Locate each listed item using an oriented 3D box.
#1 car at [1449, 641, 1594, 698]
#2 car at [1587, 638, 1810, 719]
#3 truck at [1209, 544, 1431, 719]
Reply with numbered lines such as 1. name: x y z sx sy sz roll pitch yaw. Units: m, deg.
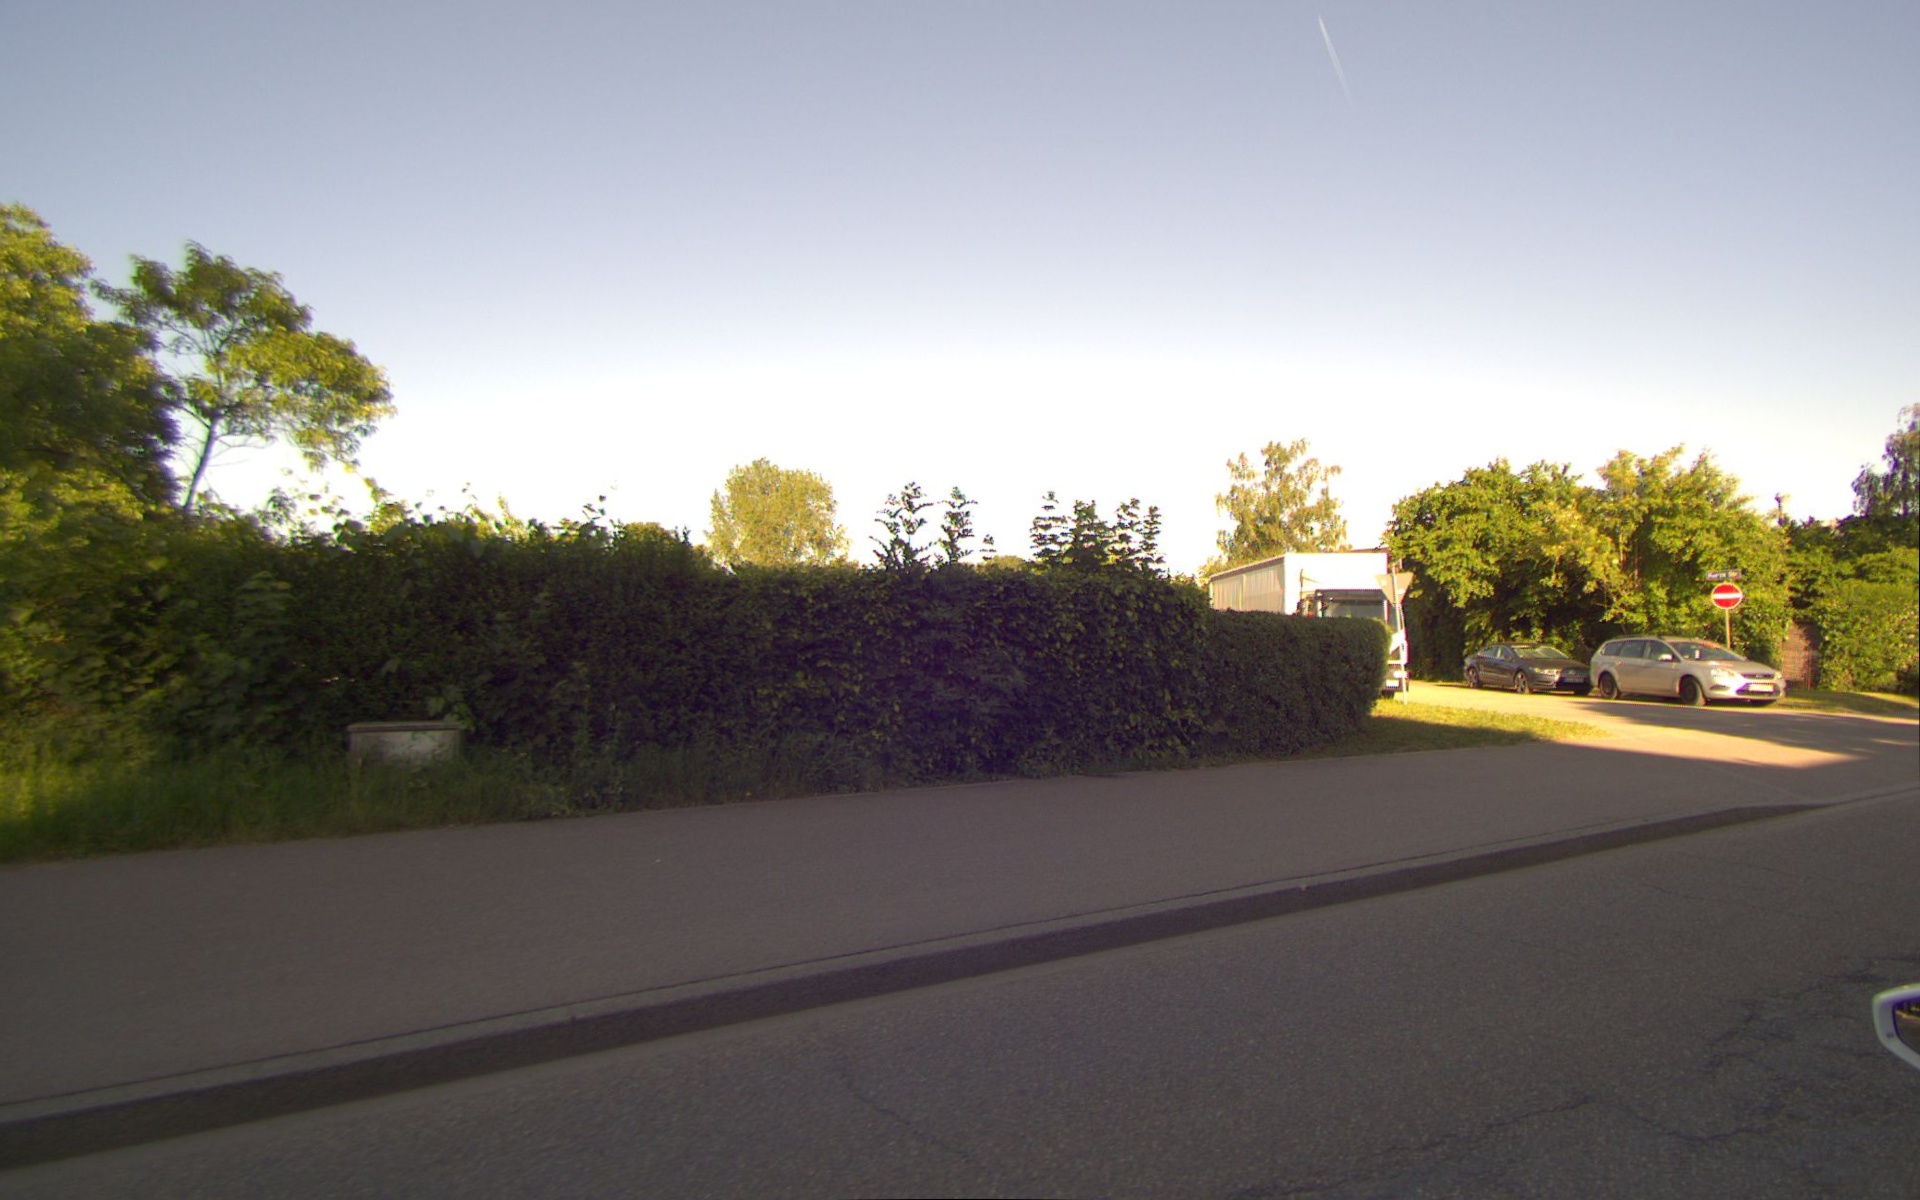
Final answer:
1. car: 15.736 1.927 28.435 1.612 1.454 4.205 1 -3 -3
2. car: 16.646 1.719 22.963 1.840 1.510 4.222 1 0 -3
3. truck: 9.383 0.871 27.584 2.658 3.934 9.336 1 -2 0
